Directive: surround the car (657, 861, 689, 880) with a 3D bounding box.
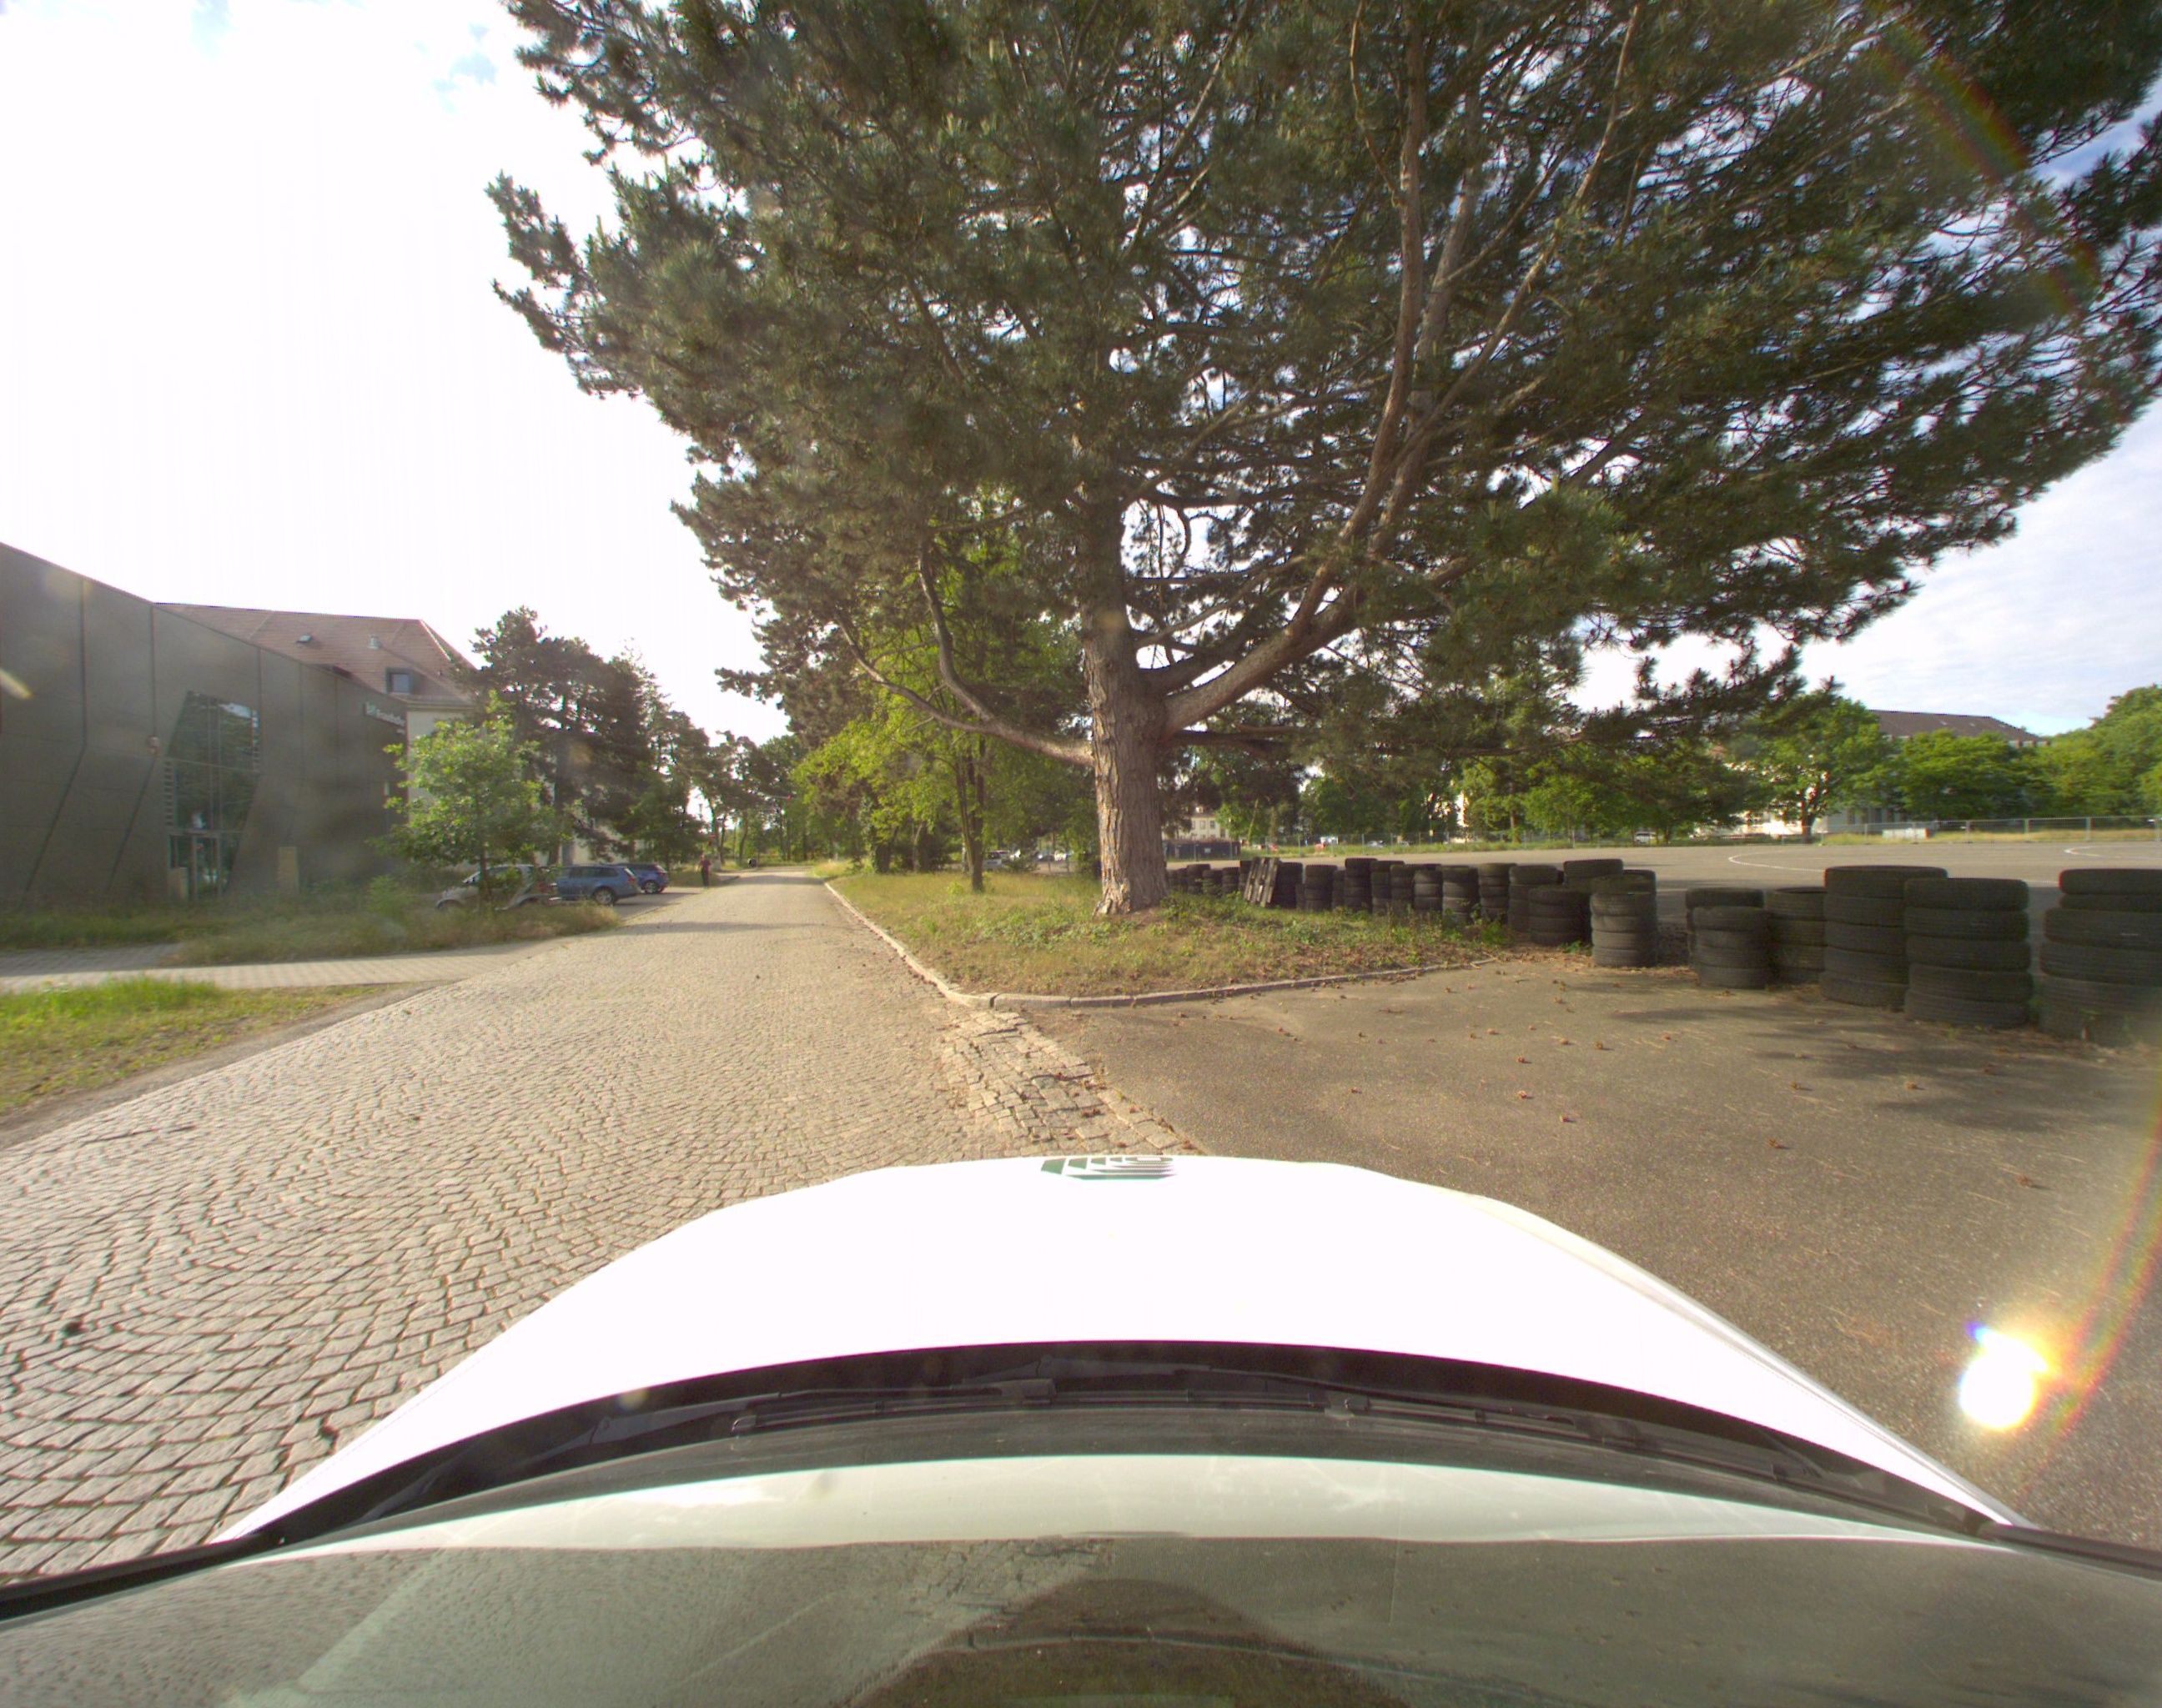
[{"bbox_3d":[-36.894,1.453,73.759,2.000,1.618,3.974,-2,0,-19],"label":"car"}]

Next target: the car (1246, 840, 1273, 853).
[{"bbox_3d":[24.645,-0.994,112.376,1.997,1.750,3.980,-2,0,-14],"label":"car"}]

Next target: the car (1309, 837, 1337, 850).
[{"bbox_3d":[34.381,-1.426,115.699,1.996,1.750,3.982,-2,0,-13],"label":"car"}]

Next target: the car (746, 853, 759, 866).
[{"bbox_3d":[-55.626,0.922,137.983,1.703,2.013,3.974,-2,0,-19],"label":"car"}]

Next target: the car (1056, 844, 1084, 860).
[{"bbox_3d":[-1.280,-0.216,91.374,2.000,1.618,3.974,-2,0,-19],"label":"car"}]

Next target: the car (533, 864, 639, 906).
[{"bbox_3d":[-17.861,1.096,29.528,3.098,1.457,1.480,1,-1,-25],"label":"car"}]

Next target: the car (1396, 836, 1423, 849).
[{"bbox_3d":[48.709,-1.694,120.884,1.993,1.750,3.987,-2,0,-10],"label":"car"}]

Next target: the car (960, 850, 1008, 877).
[{"bbox_3d":[-5.901,0.539,49.171,1.893,1.541,3.972,-2,0,-21],"label":"car"}]

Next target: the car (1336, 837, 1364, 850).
[{"bbox_3d":[38.772,-1.554,117.457,1.995,1.750,3.983,-2,0,-12],"label":"car"}]

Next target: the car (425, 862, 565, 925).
[{"bbox_3d":[-16.054,1.048,22.445,2.766,1.549,1.417,-2,0,-16],"label":"car"}]

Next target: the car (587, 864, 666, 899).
[{"bbox_3d":[-21.239,1.254,38.162,3.100,1.450,1.479,-2,0,-26],"label":"car"}]

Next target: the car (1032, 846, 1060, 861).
[{"bbox_3d":[-3.943,-0.063,90.078,2.000,1.618,3.974,-2,0,-19],"label":"car"}]

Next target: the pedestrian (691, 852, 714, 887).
[{"bbox_3d":[-20.645,0.822,44.425,0.963,1.844,0.946,-2,0,-34],"label":"pedestrian"}]

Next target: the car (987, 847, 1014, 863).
[{"bbox_3d":[-8.692,0.097,87.769,2.000,1.618,3.974,-2,0,-19],"label":"car"}]

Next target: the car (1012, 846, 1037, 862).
[{"bbox_3d":[-6.235,0.021,88.938,1.826,1.618,3.977,-2,0,-17],"label":"car"}]
